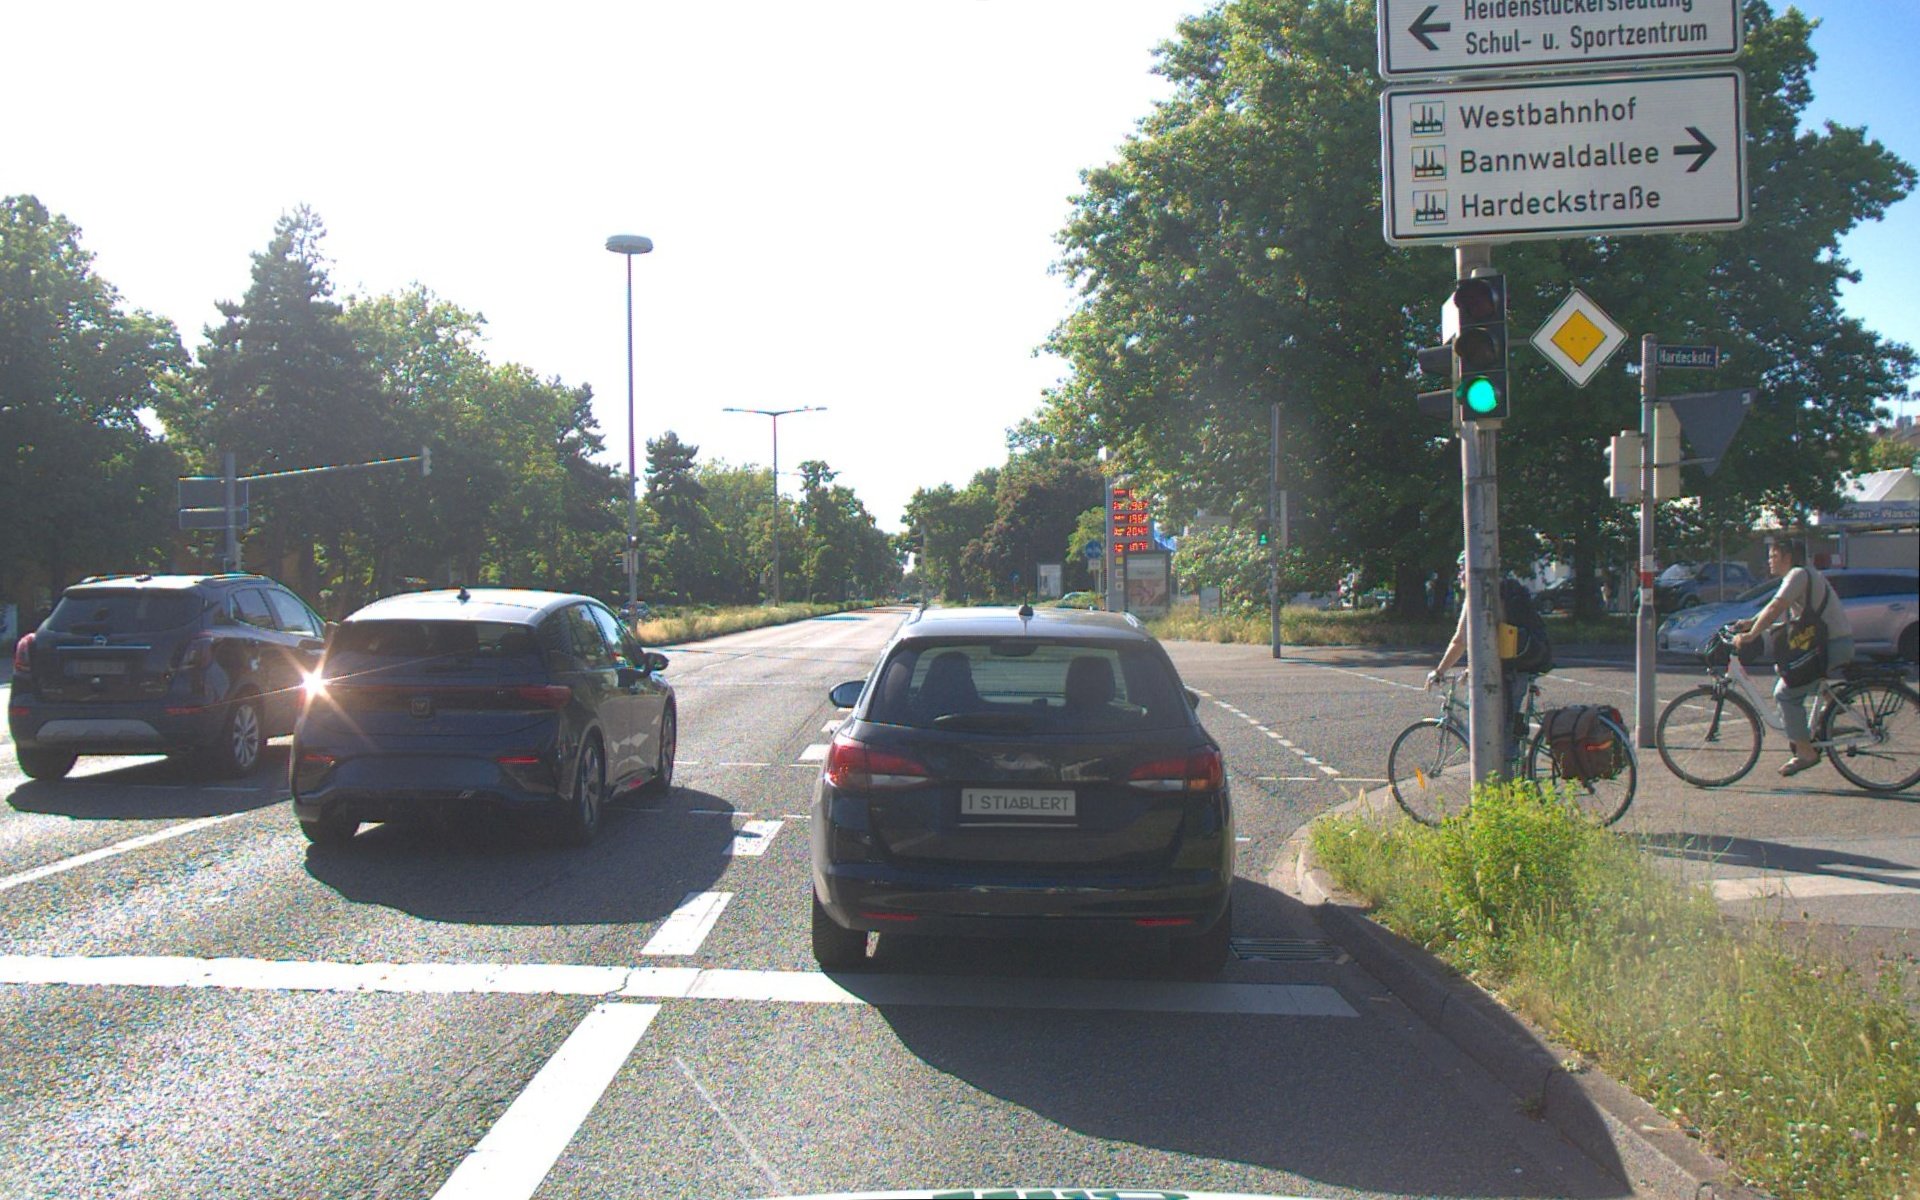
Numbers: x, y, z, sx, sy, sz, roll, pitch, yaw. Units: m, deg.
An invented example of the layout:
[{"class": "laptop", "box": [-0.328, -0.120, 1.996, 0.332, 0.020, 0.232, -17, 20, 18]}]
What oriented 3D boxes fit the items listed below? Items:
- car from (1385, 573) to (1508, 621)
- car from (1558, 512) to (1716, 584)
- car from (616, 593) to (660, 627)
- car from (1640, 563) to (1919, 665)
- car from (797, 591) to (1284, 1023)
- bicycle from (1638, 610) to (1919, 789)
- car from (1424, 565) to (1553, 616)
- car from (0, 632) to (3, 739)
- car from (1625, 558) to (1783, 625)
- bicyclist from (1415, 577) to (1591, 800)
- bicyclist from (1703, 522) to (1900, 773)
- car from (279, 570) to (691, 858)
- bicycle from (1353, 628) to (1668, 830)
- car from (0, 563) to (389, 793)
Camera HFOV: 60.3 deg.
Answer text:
[{"class": "car", "box": [16.697, -0.101, 56.792, 3.837, 1.544, 1.733, -1, 0, -24]}, {"class": "car", "box": [19.118, -1.424, 46.714, 3.934, 1.780, 1.985, 2, -1, -24]}, {"class": "car", "box": [-20.338, 0.616, 104.584, 1.953, 2.049, 3.999, -2, 0, -1]}, {"class": "car", "box": [13.699, 0.206, 26.443, 4.897, 1.512, 2.002, -1, 0, 11]}, {"class": "car", "box": [0.266, 0.751, 7.971, 1.720, 1.522, 4.206, 0, 0, -1]}, {"class": "bicycle", "box": [5.691, 0.666, 11.171, 0.576, 1.117, 1.955, -1, -2, -43]}, {"class": "car", "box": [17.163, -0.307, 53.716, 3.837, 1.544, 1.733, -1, 0, -24]}, {"class": "car", "box": [-2.766, 0.763, 1.042, 1.740, 1.477, 4.455, 1, -1, -1]}, {"class": "car", "box": [20.213, -0.244, 44.916, 3.934, 1.710, 1.733, -1, 0, -24]}, {"class": "bicyclist", "box": [3.323, 0.535, 10.146, 0.533, 1.299, 0.816, -1, -2, -44]}, {"class": "bicyclist", "box": [5.678, 0.323, 11.178, 0.576, 1.609, 0.981, -1, -2, -44]}, {"class": "car", "box": [-2.995, 0.653, 11.356, 1.650, 1.608, 4.206, 0, 0, -1]}, {"class": "bicycle", "box": [3.331, 0.774, 10.144, 0.533, 1.117, 1.748, -1, -2, -43]}, {"class": "car", "box": [-6.643, 0.595, 14.684, 1.768, 1.719, 3.999, -1, 0, -1]}]
